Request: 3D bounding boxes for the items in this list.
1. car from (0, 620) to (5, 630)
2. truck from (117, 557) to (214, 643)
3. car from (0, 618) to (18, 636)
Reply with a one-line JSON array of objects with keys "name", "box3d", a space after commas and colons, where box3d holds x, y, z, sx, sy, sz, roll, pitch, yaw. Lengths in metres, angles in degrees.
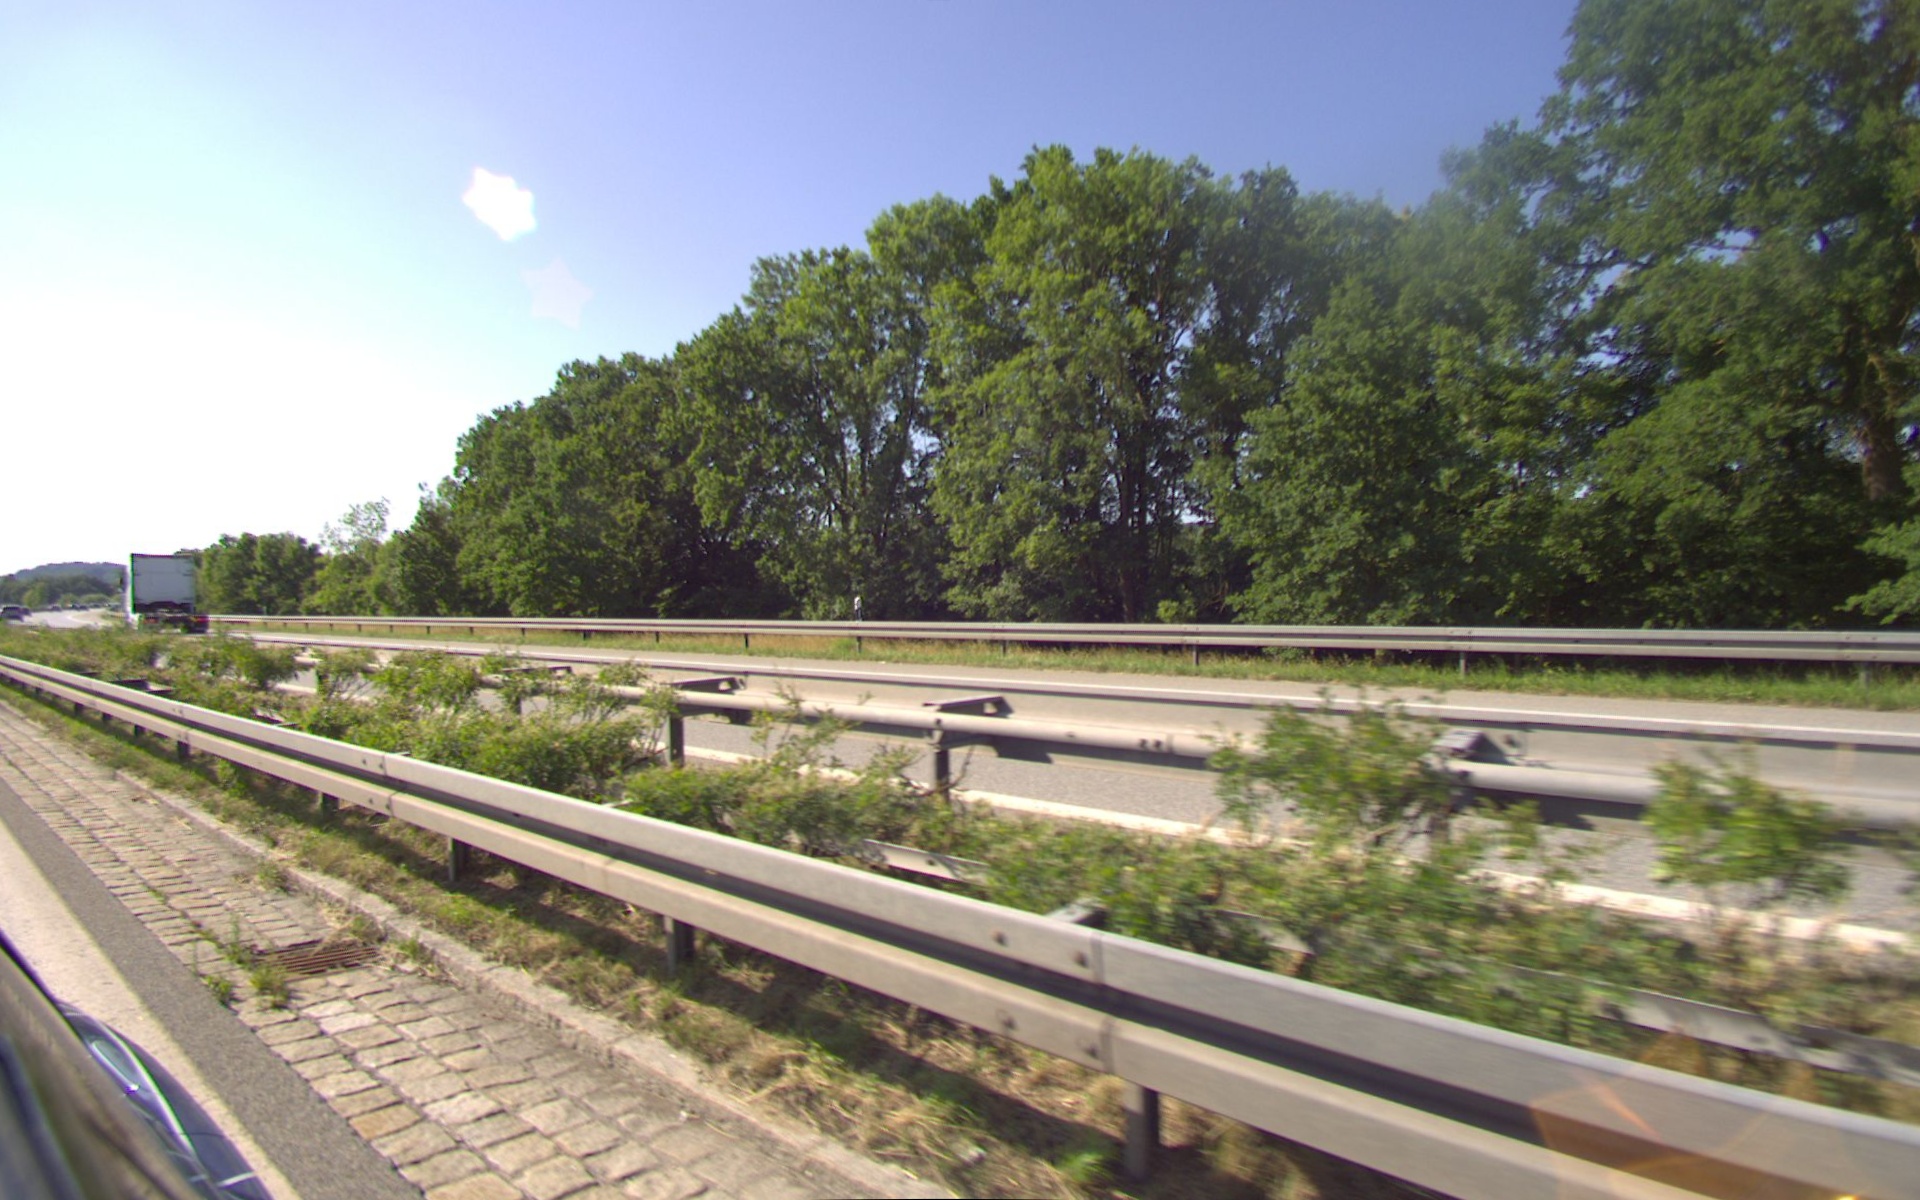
[{"name": "car", "box3d": [-146.594, 3.782, 153.938, 1.908, 1.516, 4.798, 2, -3, -43]}, {"name": "truck", "box3d": [-38.329, 0.075, 48.732, 6.809, 3.869, 2.596, -1, -2, 43]}, {"name": "car", "box3d": [-91.456, 2.581, 96.756, 4.001, 1.619, 1.822, -1, -2, 44]}]
